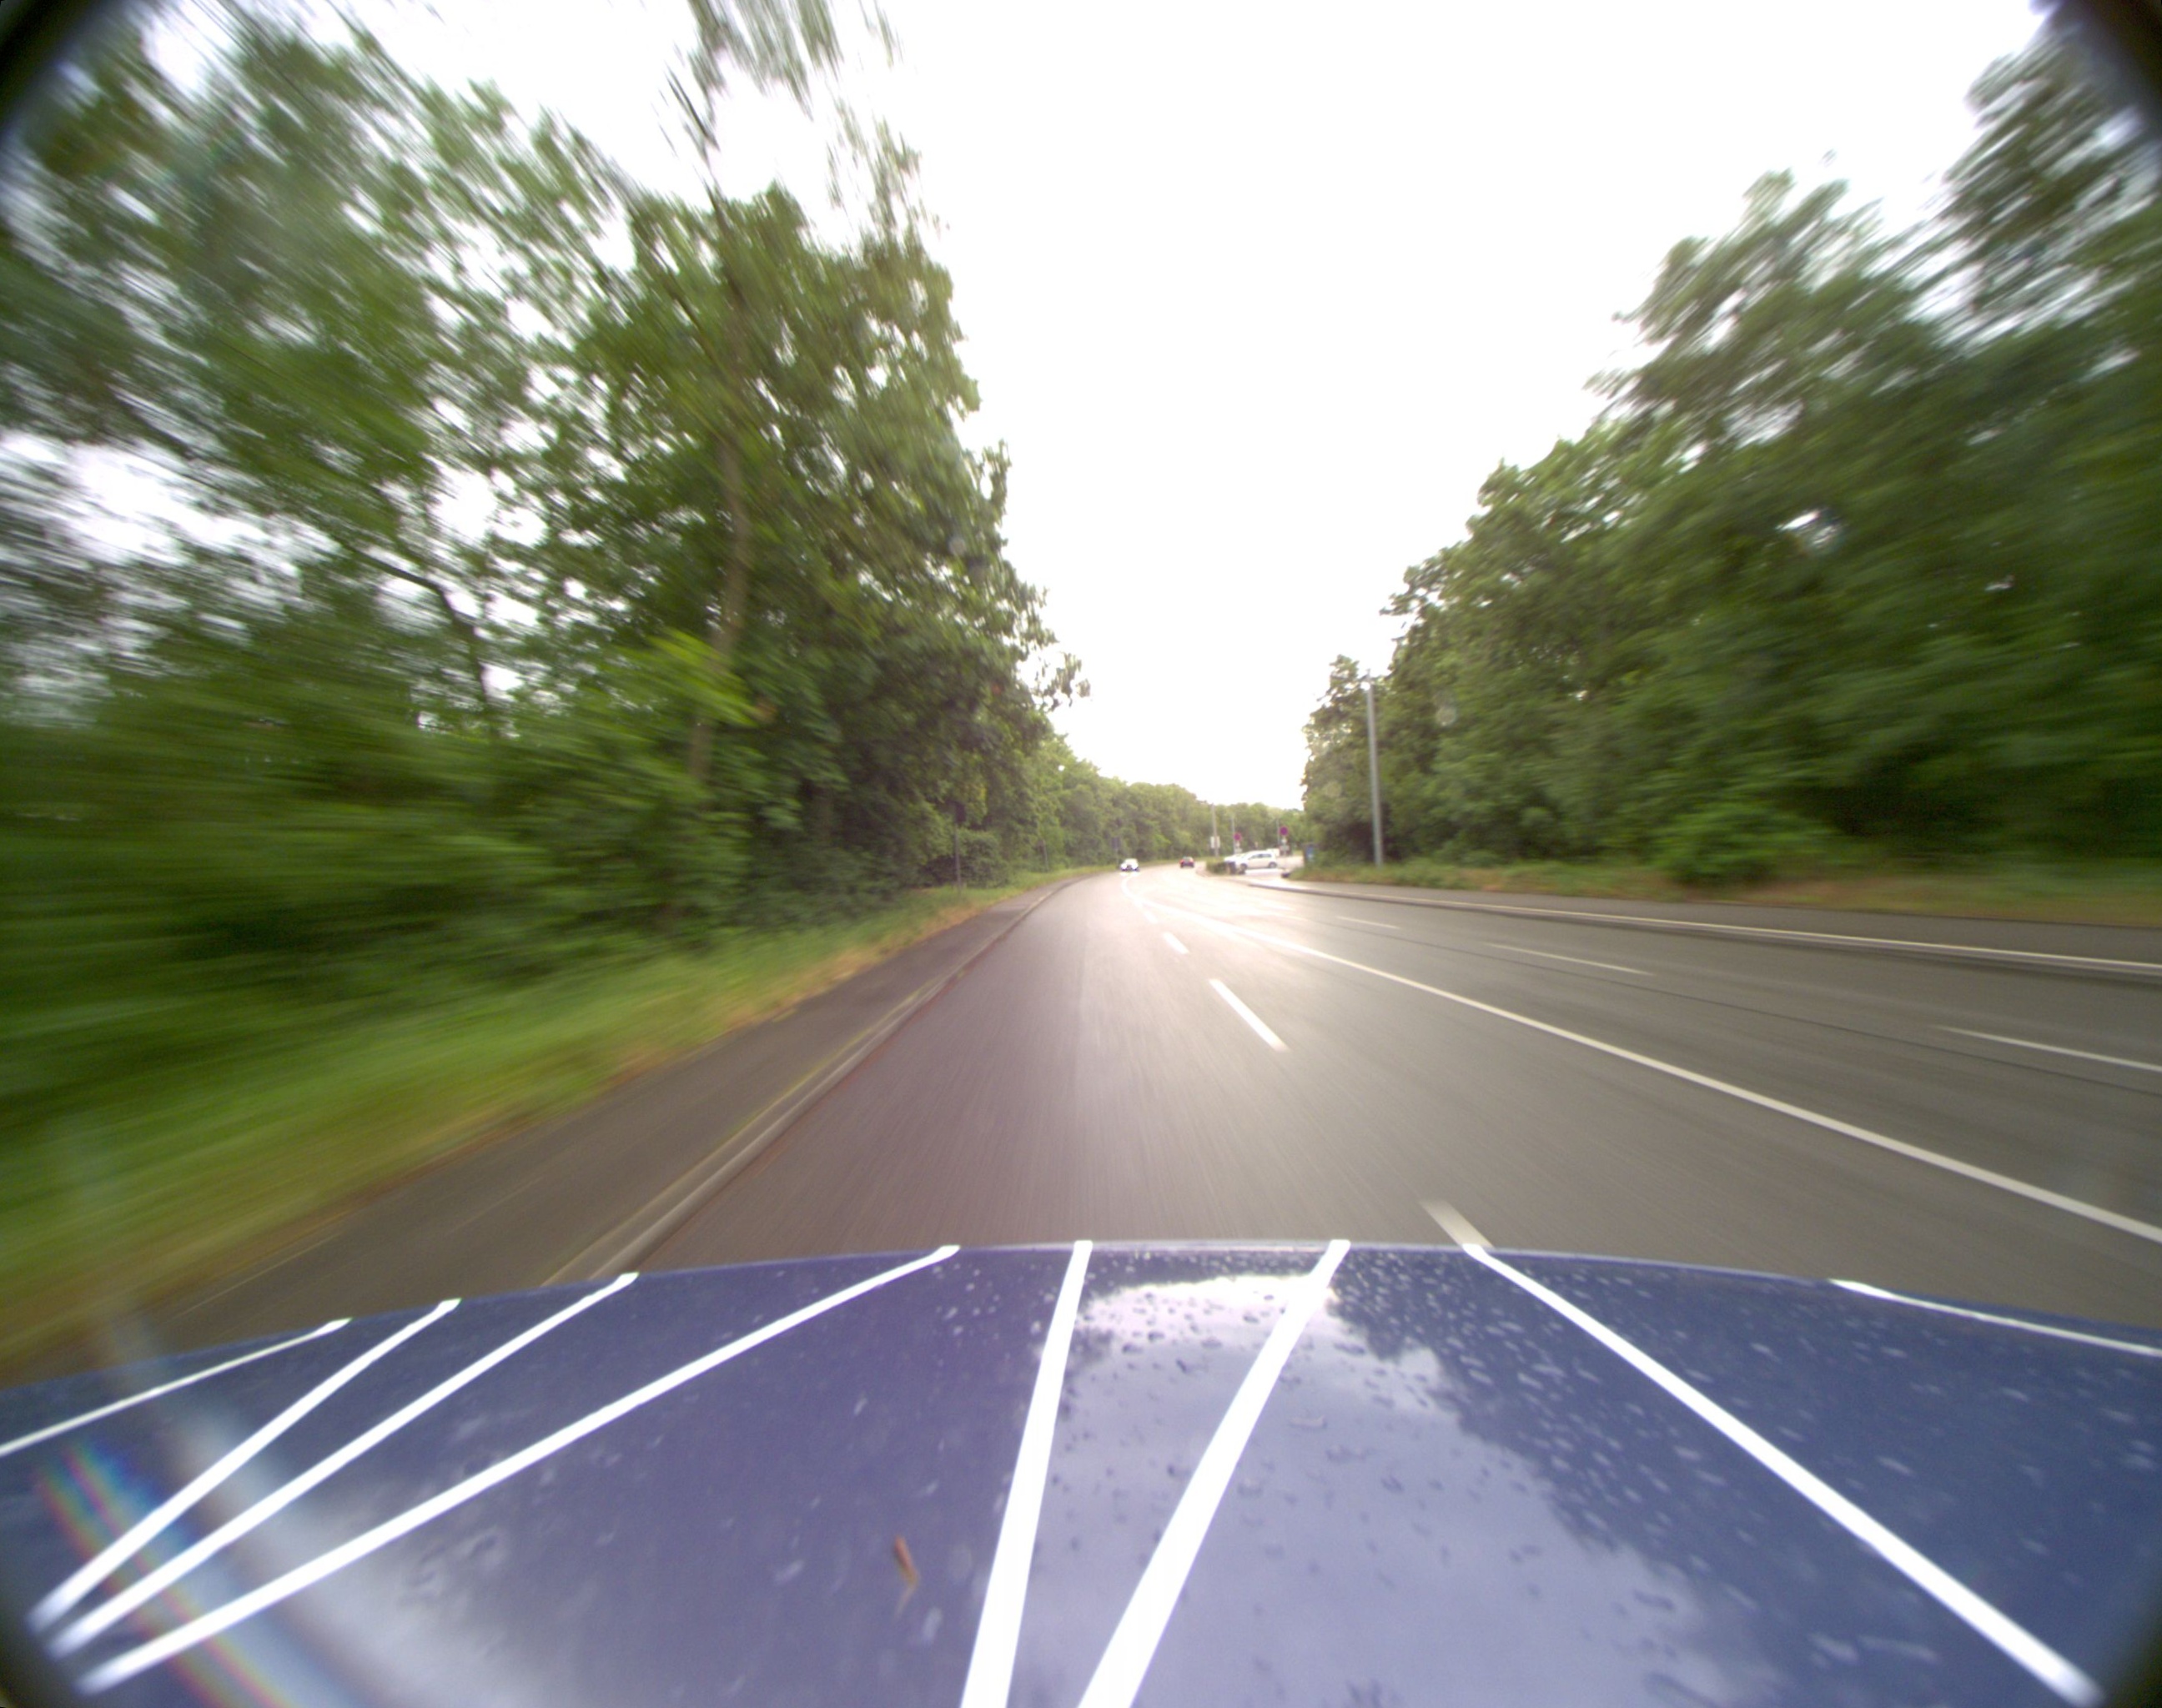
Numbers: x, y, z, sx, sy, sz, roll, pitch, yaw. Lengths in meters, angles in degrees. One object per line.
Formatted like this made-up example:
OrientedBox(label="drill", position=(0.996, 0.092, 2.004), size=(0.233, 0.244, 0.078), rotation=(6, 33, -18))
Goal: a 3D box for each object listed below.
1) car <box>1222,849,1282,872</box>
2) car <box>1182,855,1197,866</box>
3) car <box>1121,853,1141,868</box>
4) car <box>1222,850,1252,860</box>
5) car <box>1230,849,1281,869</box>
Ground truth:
OrientedBox(label="car", position=(14.443, 0.539, 64.402), size=(4.751, 1.707, 1.895), rotation=(-3, 1, 6))
OrientedBox(label="car", position=(15.091, 0.823, 105.587), size=(1.855, 1.464, 3.916), rotation=(-1, 0, 12))
OrientedBox(label="car", position=(5.701, 0.769, 85.923), size=(1.997, 1.577, 4.002), rotation=(-1, 1, 7))
OrientedBox(label="car", position=(23.737, 0.141, 115.680), size=(4.205, 1.475, 1.908), rotation=(-2, 0, 6))
OrientedBox(label="car", position=(15.984, 0.447, 69.915), size=(4.378, 1.592, 1.757), rotation=(-3, 1, 8))
